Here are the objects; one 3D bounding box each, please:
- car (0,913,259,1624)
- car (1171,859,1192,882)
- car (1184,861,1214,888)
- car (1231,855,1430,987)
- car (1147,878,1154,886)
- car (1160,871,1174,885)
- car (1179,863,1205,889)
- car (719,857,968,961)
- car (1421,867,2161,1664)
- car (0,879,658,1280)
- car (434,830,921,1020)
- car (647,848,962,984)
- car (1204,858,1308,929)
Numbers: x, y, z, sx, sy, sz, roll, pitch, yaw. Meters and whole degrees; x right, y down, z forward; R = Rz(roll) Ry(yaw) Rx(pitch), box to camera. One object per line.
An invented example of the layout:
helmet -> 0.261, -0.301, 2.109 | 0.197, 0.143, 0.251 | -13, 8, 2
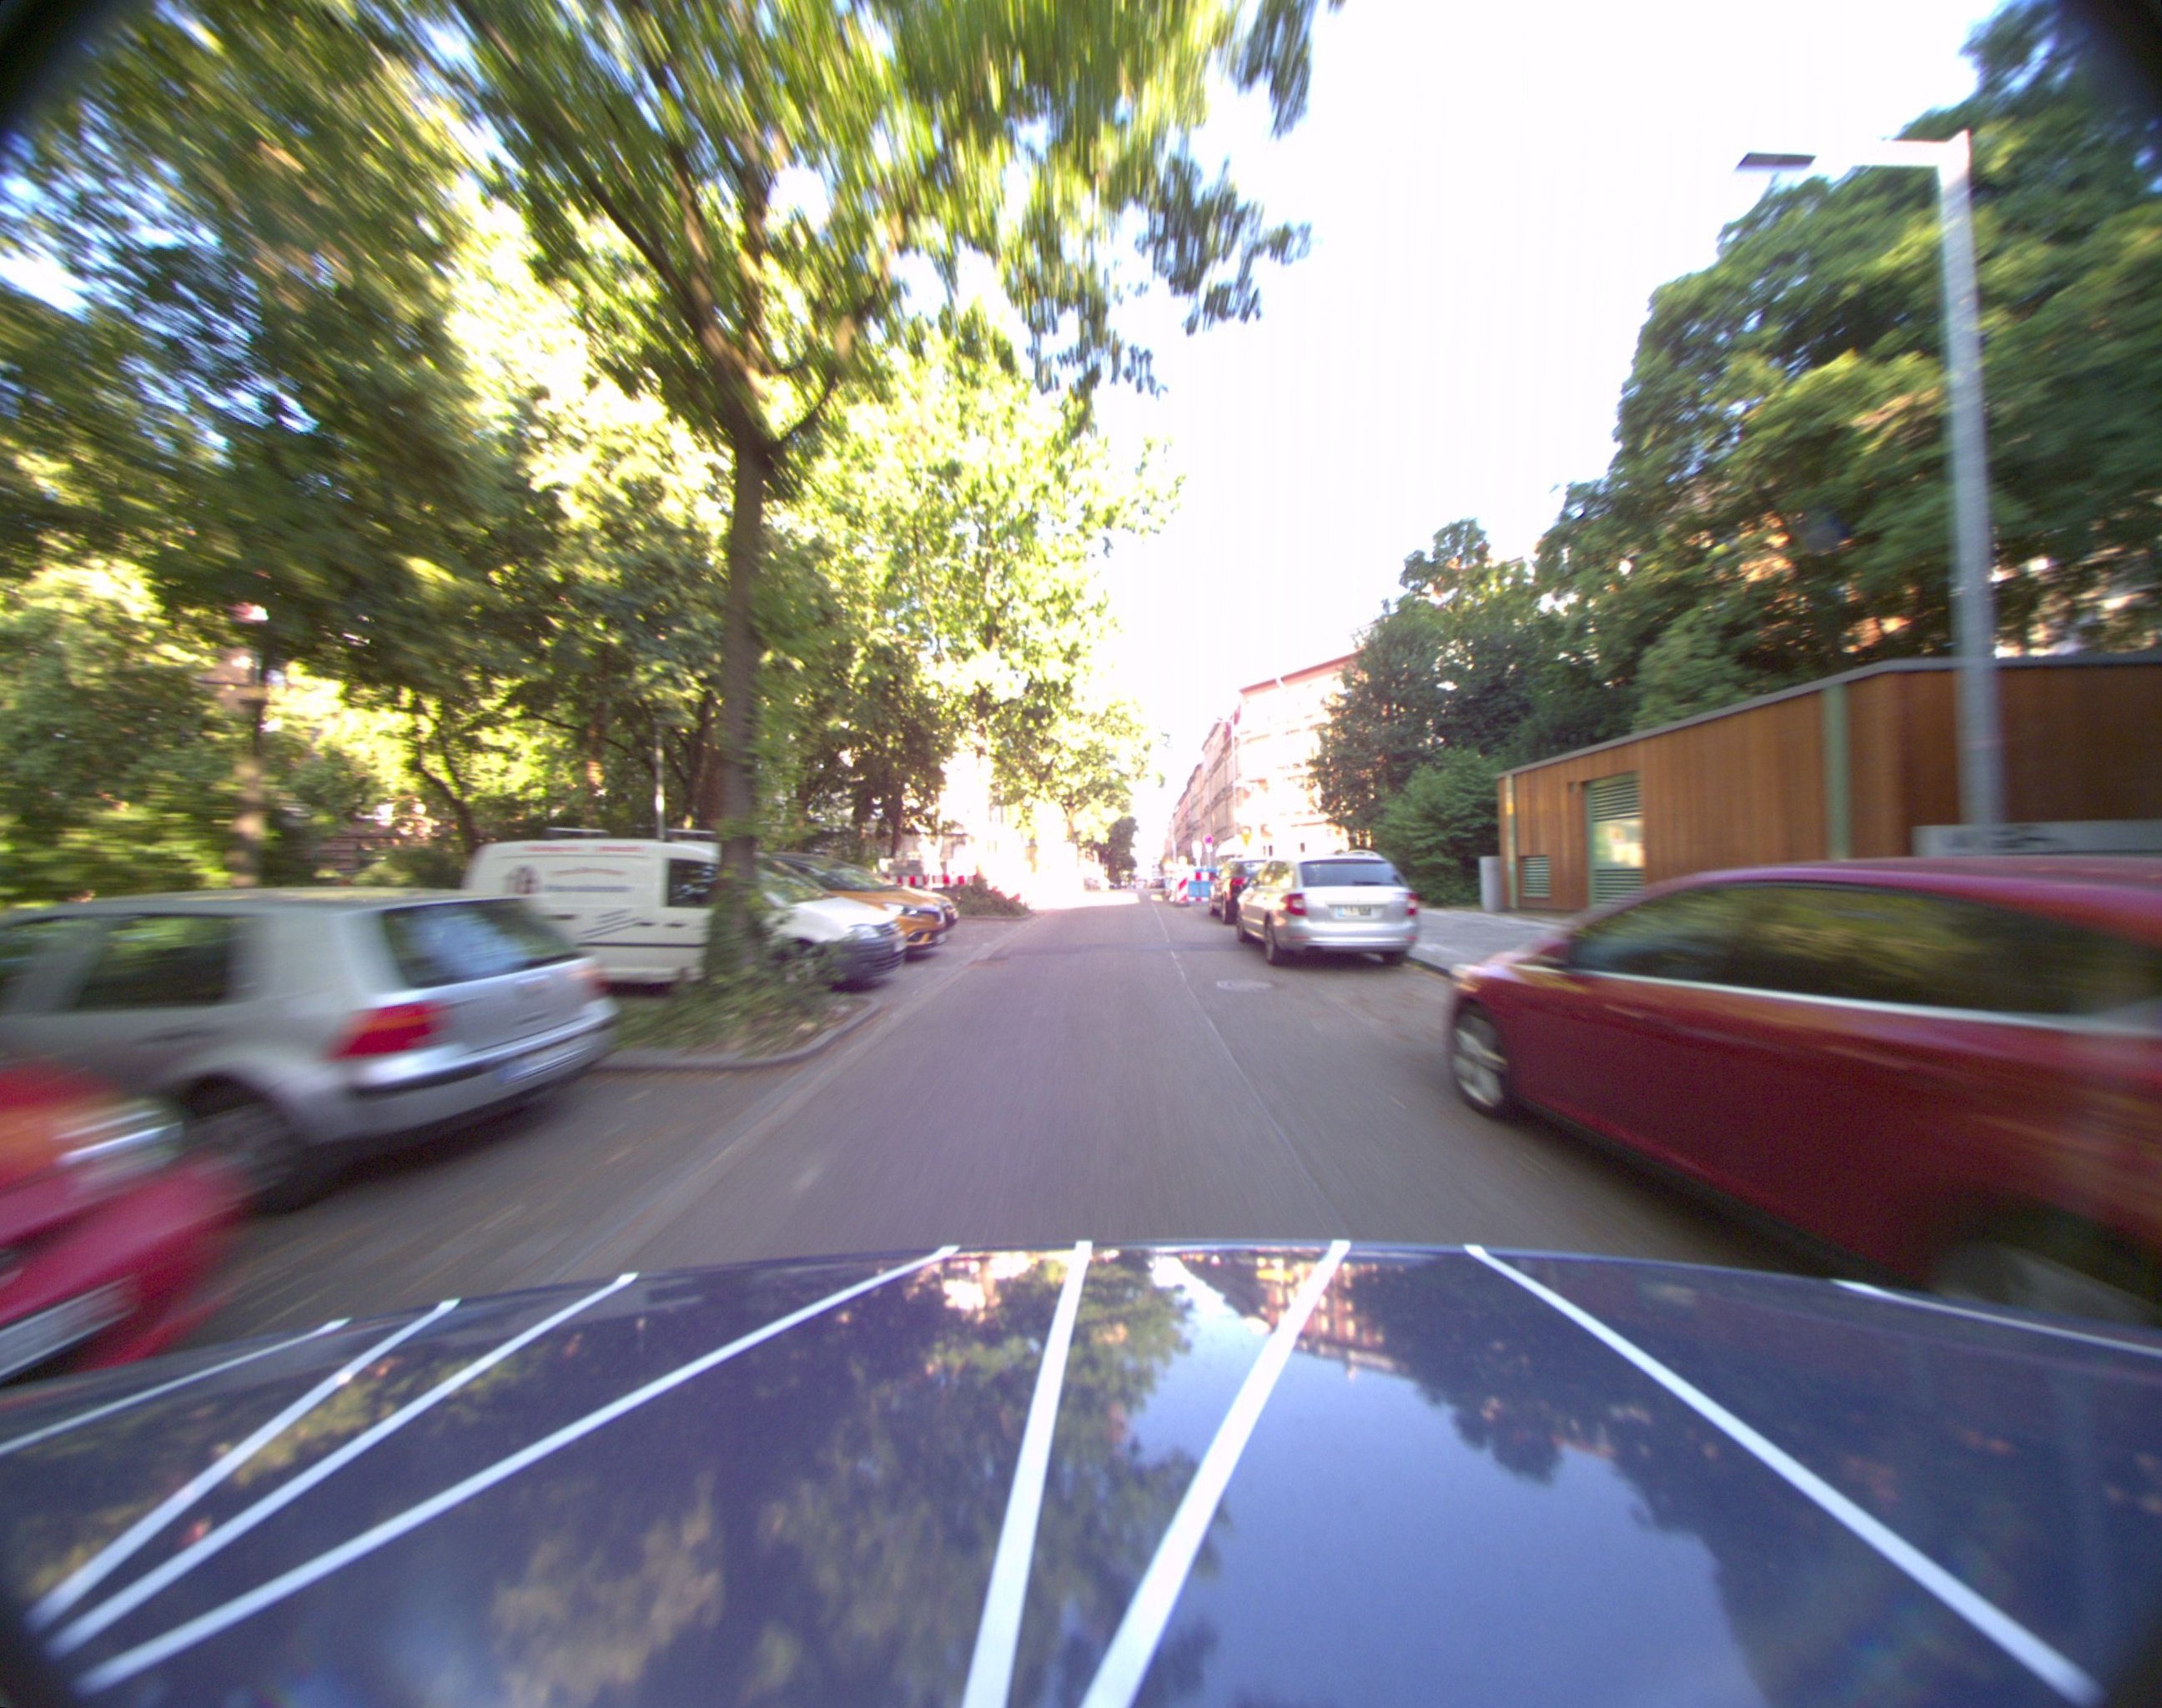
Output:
car -> -4.477, 1.045, 1.477 | 3.997, 1.565, 1.587 | -3, 0, 1
car -> 9.587, 1.549, 72.760 | 1.703, 2.103, 4.195 | 0, 0, 4
car -> 8.165, 1.397, 52.920 | 1.703, 1.794, 4.195 | 0, 0, 4
car -> 3.321, 0.772, 11.051 | 1.703, 1.489, 4.551 | 0, 0, 4
car -> 15.808, 6.302, 173.005 | 1.703, 1.740, 4.195 | 0, 0, 4
car -> 11.004, 3.057, 97.291 | 1.703, 1.740, 4.195 | 0, 0, 4
car -> 8.390, 1.603, 57.720 | 1.703, 1.829, 4.195 | 0, 0, 4
car -> -4.256, 0.956, 14.103 | 3.997, 1.618, 1.798 | -3, 0, -1
car -> 2.996, 0.841, 2.721 | 1.703, 1.498, 4.228 | 0, 0, 1
car -> -4.731, 1.025, 4.055 | 3.995, 1.565, 1.666 | -3, 0, 5
car -> -4.433, 0.736, 8.878 | 4.682, 1.913, 1.872 | 1, 0, 1
car -> -4.029, 0.878, 11.456 | 3.995, 1.747, 1.799 | -3, 0, 7
car -> 3.838, 0.796, 17.312 | 1.703, 1.391, 4.195 | 0, 0, 4
